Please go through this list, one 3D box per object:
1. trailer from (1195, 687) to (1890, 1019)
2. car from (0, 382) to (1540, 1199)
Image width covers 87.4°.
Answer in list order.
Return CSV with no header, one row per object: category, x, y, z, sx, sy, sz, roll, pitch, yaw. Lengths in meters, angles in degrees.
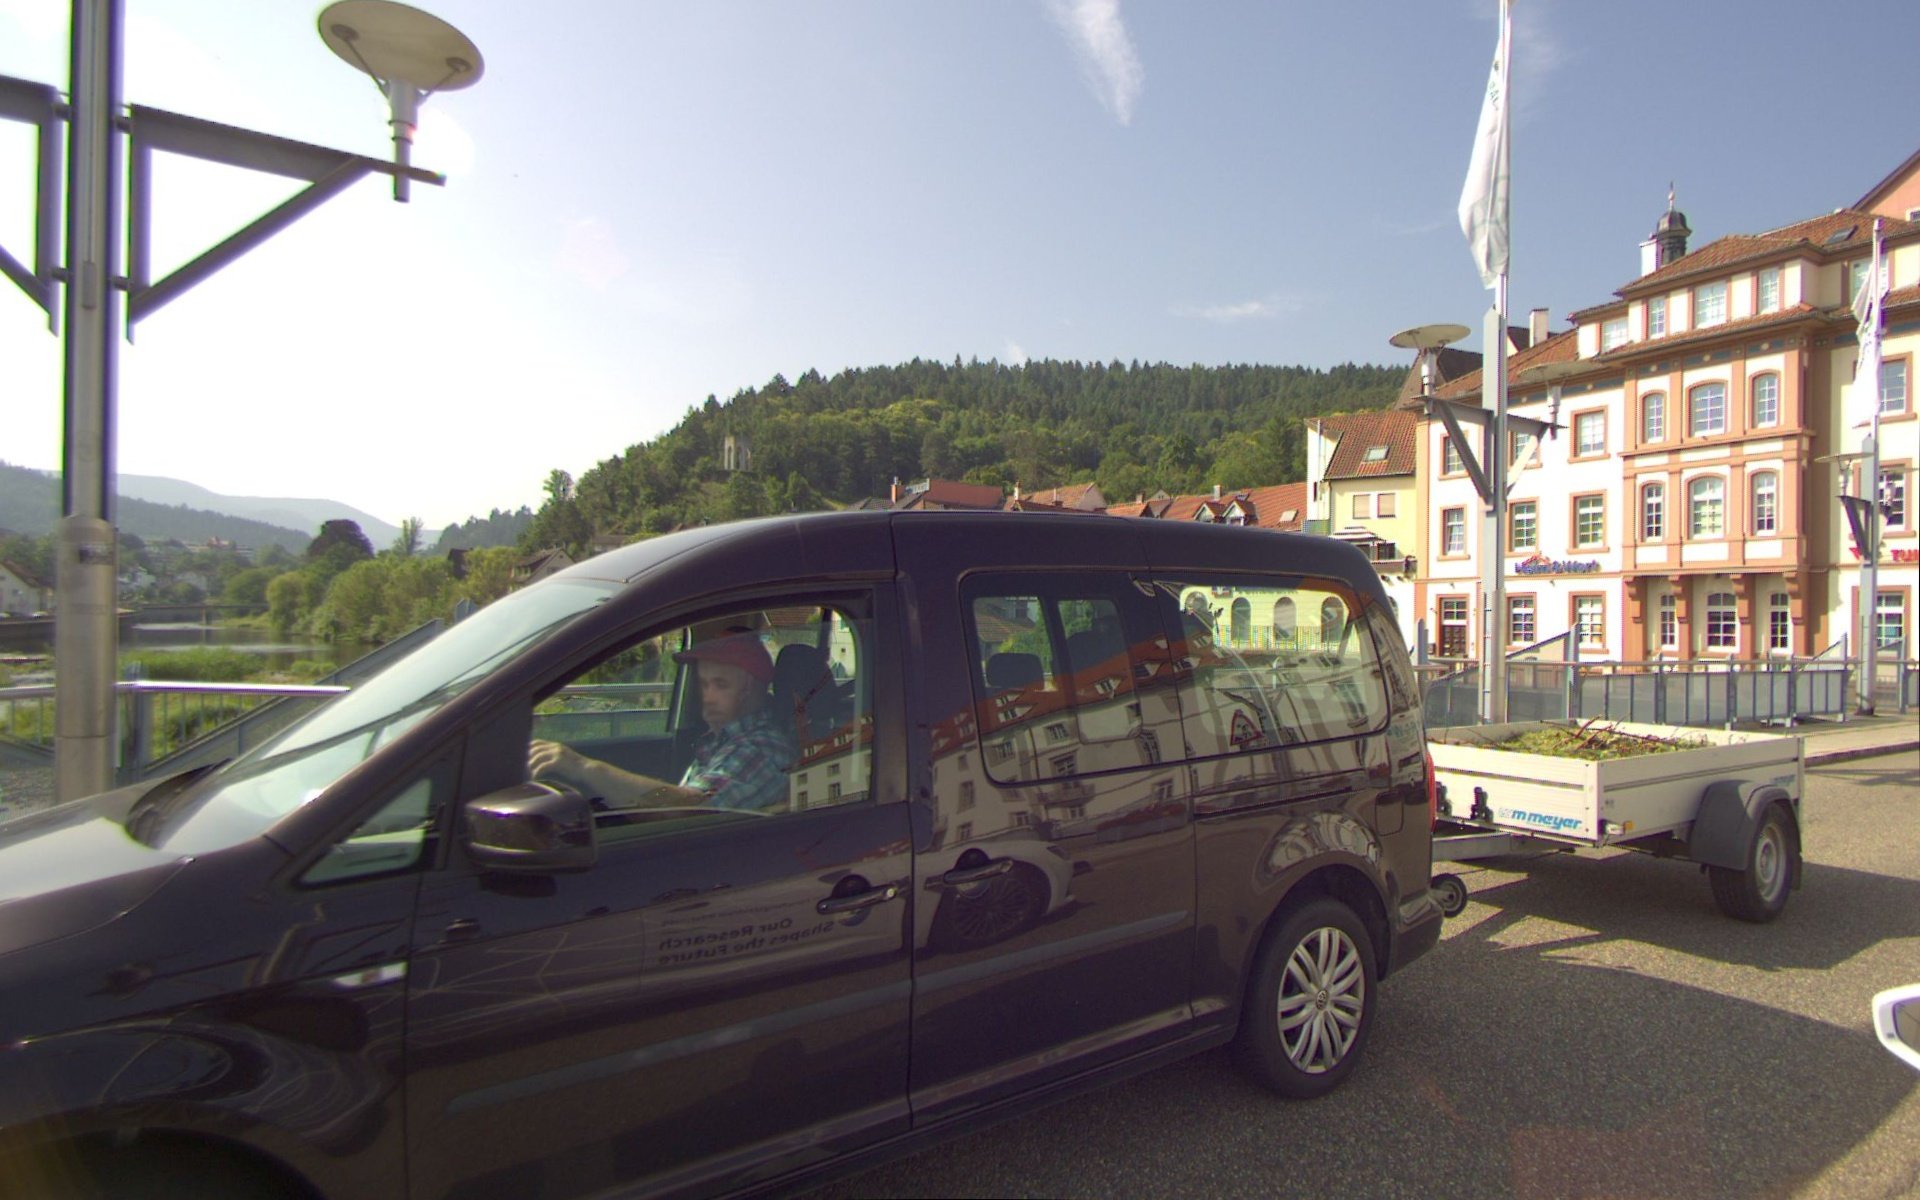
trailer,3.401,1.101,5.616,4.142,1.035,1.740,2,-2,-34
car,-0.292,0.631,3.093,4.648,1.816,1.765,1,0,-34
